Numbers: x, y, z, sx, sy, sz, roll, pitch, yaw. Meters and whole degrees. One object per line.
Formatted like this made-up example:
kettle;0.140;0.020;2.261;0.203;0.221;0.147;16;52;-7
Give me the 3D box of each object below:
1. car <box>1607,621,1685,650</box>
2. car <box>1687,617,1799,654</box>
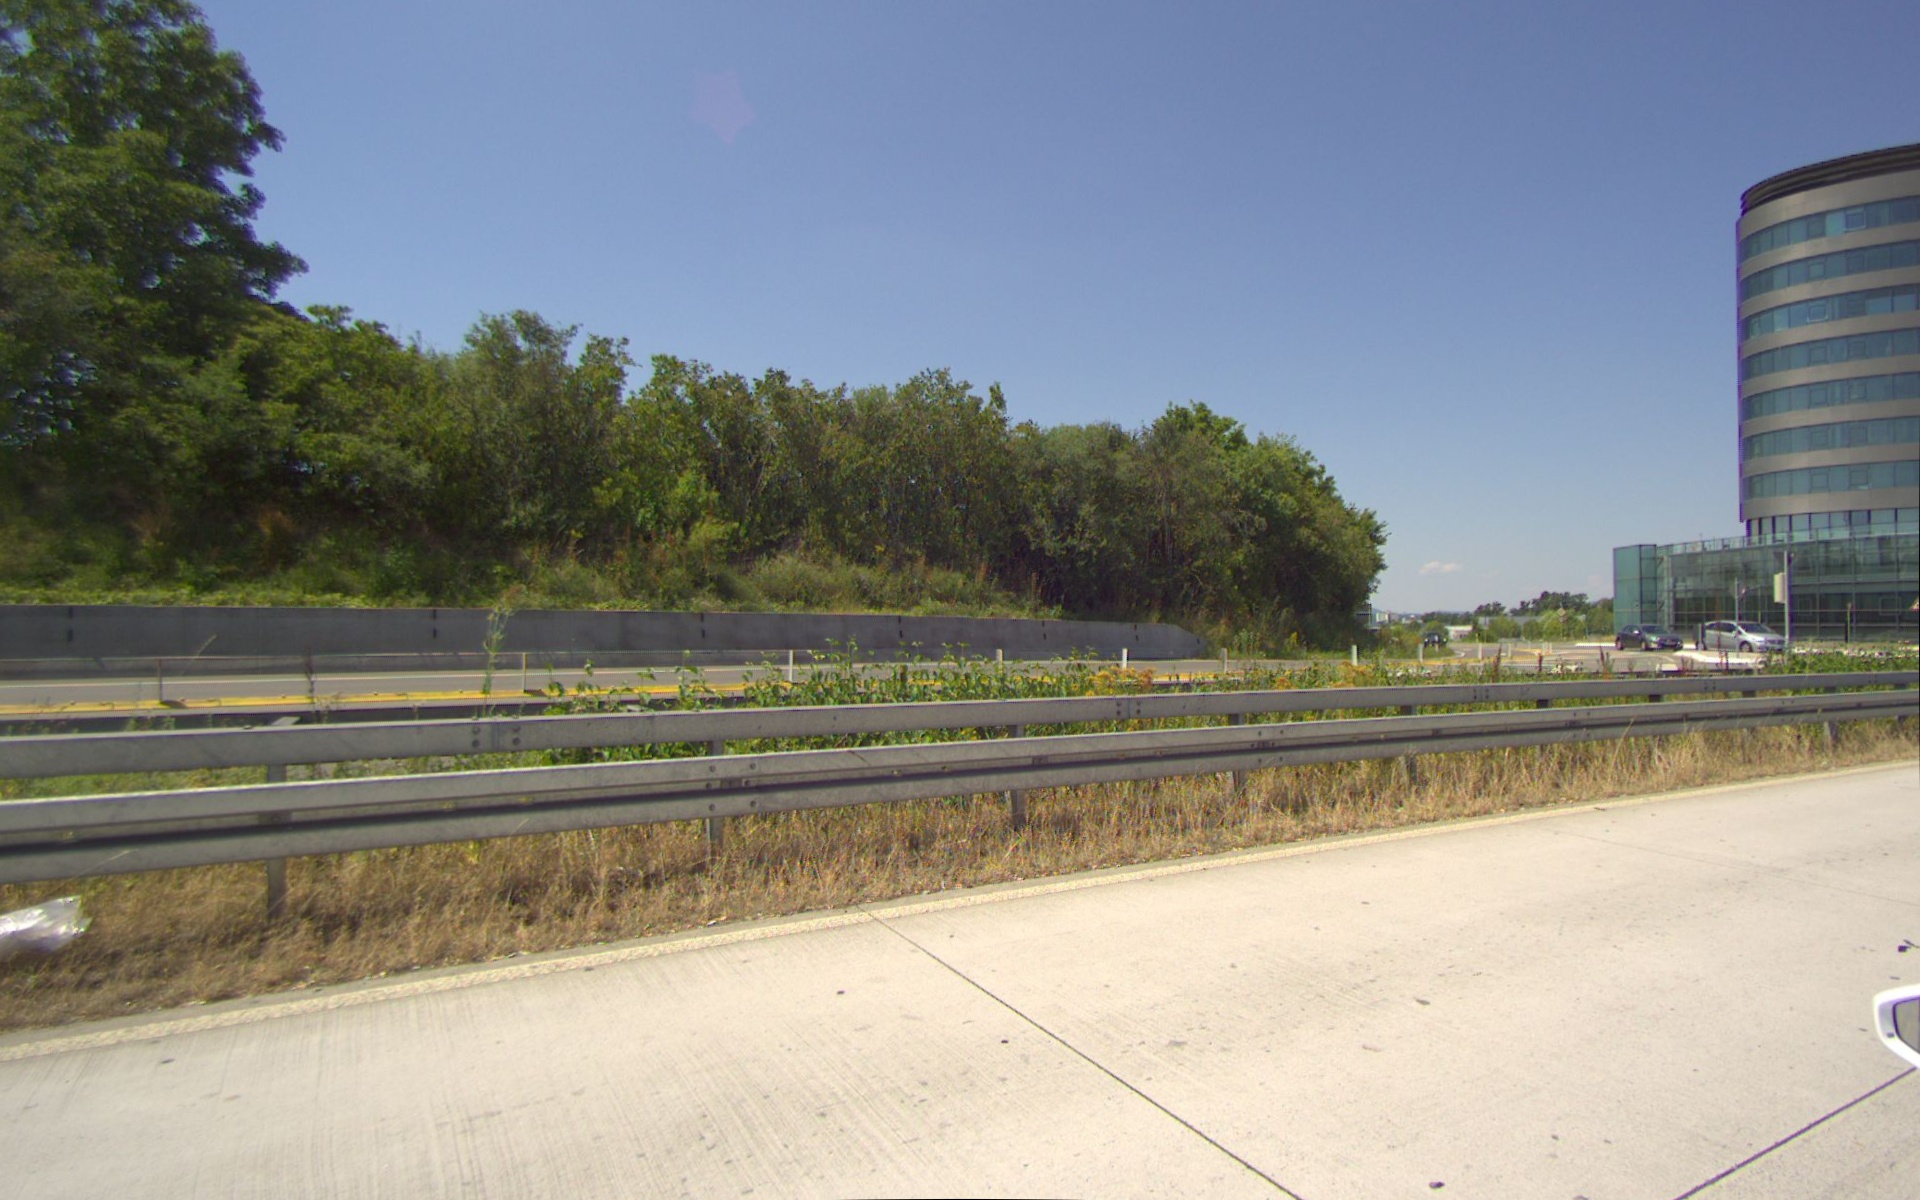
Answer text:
car;37.216;1.937;54.612;1.663;1.475;4.333;2;-2;6
car;36.495;1.671;46.972;1.742;1.616;4.329;2;-2;-2
